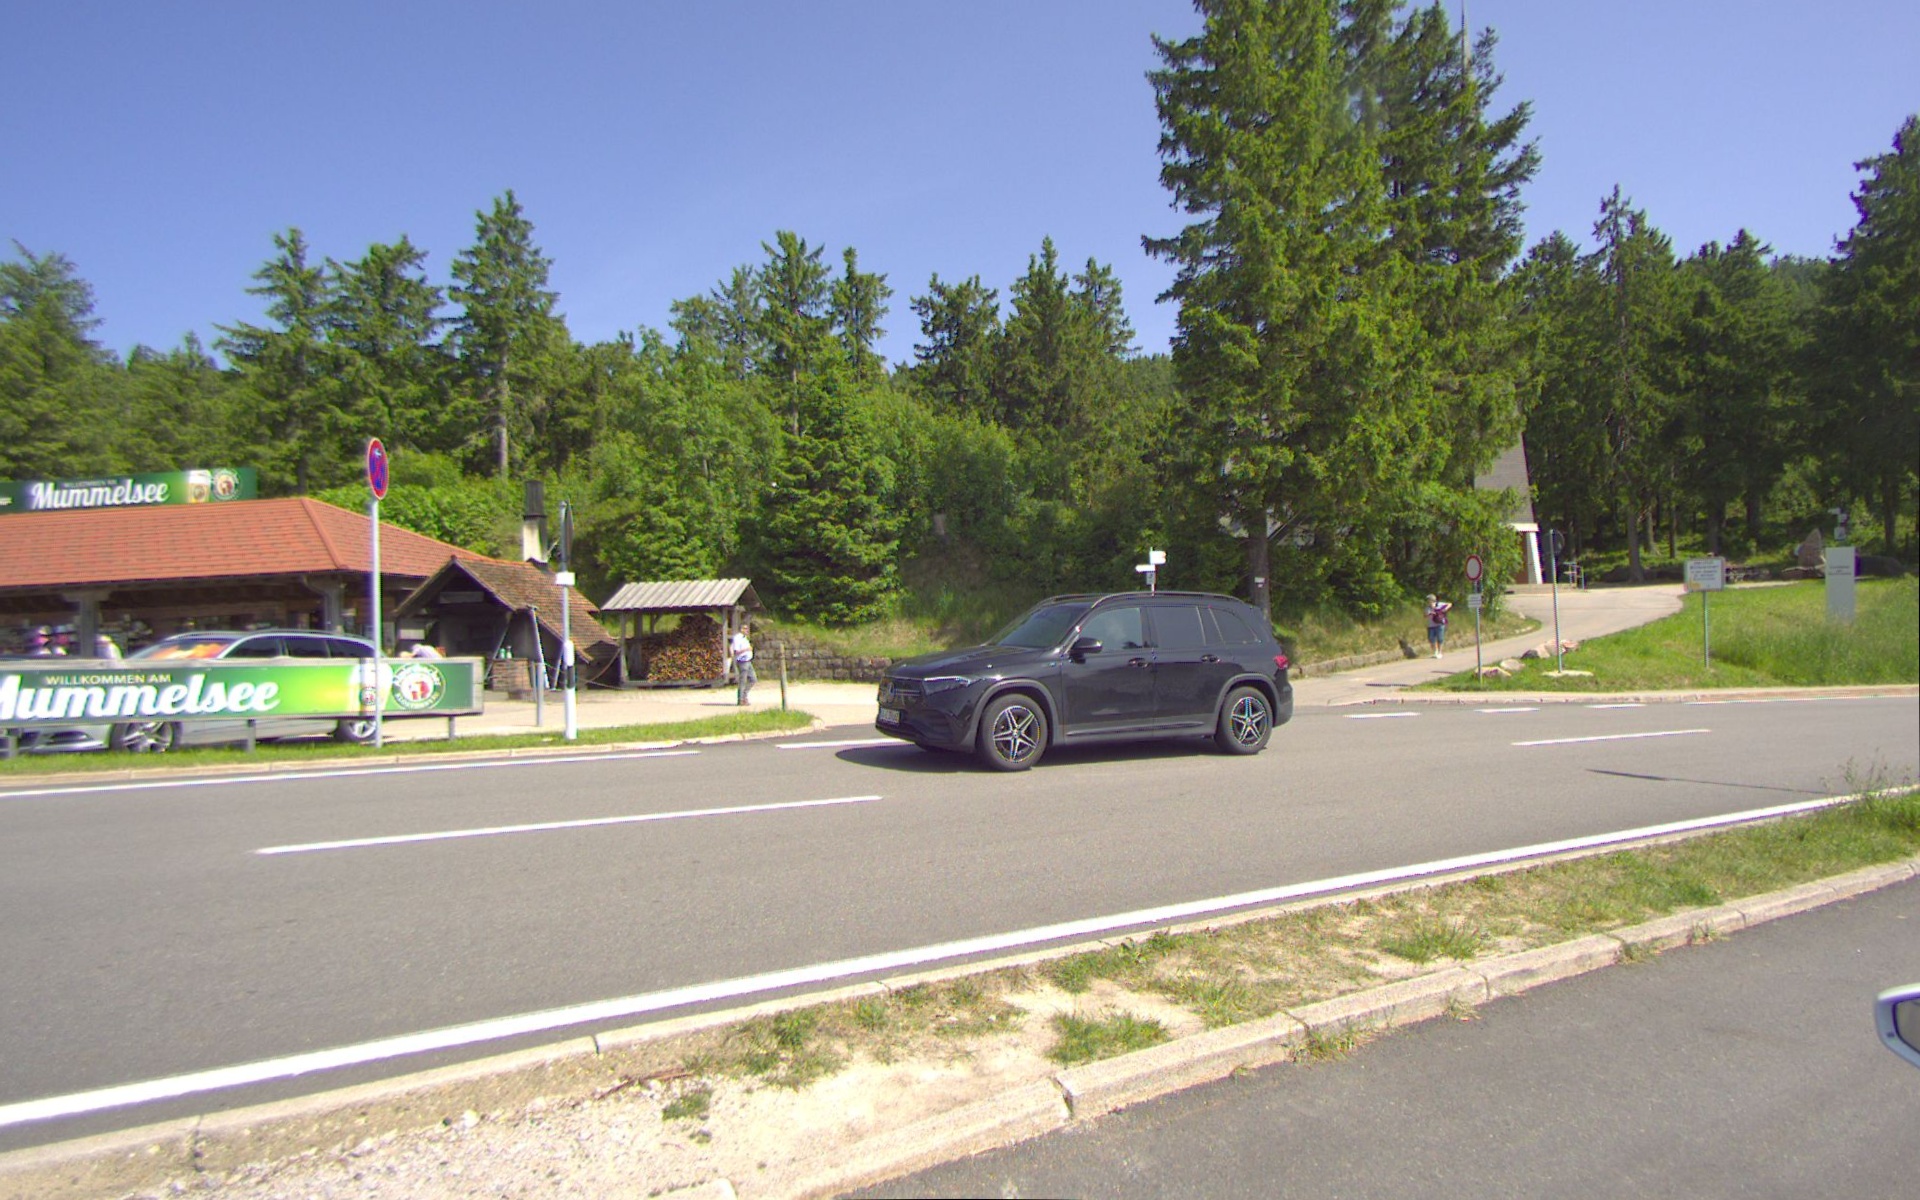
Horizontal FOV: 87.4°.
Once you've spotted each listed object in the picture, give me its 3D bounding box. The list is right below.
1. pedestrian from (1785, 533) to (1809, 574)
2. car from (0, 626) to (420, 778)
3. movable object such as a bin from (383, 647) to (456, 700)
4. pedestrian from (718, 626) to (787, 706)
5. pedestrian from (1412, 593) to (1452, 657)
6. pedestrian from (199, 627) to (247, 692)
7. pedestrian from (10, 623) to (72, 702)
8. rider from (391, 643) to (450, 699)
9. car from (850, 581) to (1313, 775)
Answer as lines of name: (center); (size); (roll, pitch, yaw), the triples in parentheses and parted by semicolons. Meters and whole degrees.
pedestrian: (39.860, -2.213, 47.845); (0.531, 1.902, 0.683); (-1, -2, 8)
car: (-8.824, 1.090, 11.952); (1.687, 1.449, 4.506); (-1, -3, 12)
movable object such as a bin: (-12.819, 1.720, 23.846); (1.193, 1.204, 0.984); (-1, -2, 22)
pedestrian: (-4.593, 1.452, 22.272); (1.140, 1.720, 0.978); (-1, -2, 23)
pedestrian: (12.898, 0.686, 27.445); (0.676, 1.703, 0.715); (1, -2, -36)
pedestrian: (-20.158, 1.619, 27.486); (0.788, 1.760, 0.749); (-1, -2, 22)
pedestrian: (-23.888, 1.614, 26.121); (0.908, 2.040, 0.724); (0, -2, 6)
rider: (-12.758, 1.666, 23.762); (0.891, 1.291, 0.839); (-1, -2, 22)
car: (1.296, 0.731, 10.566); (4.507, 1.669, 1.987); (1, -2, -26)
